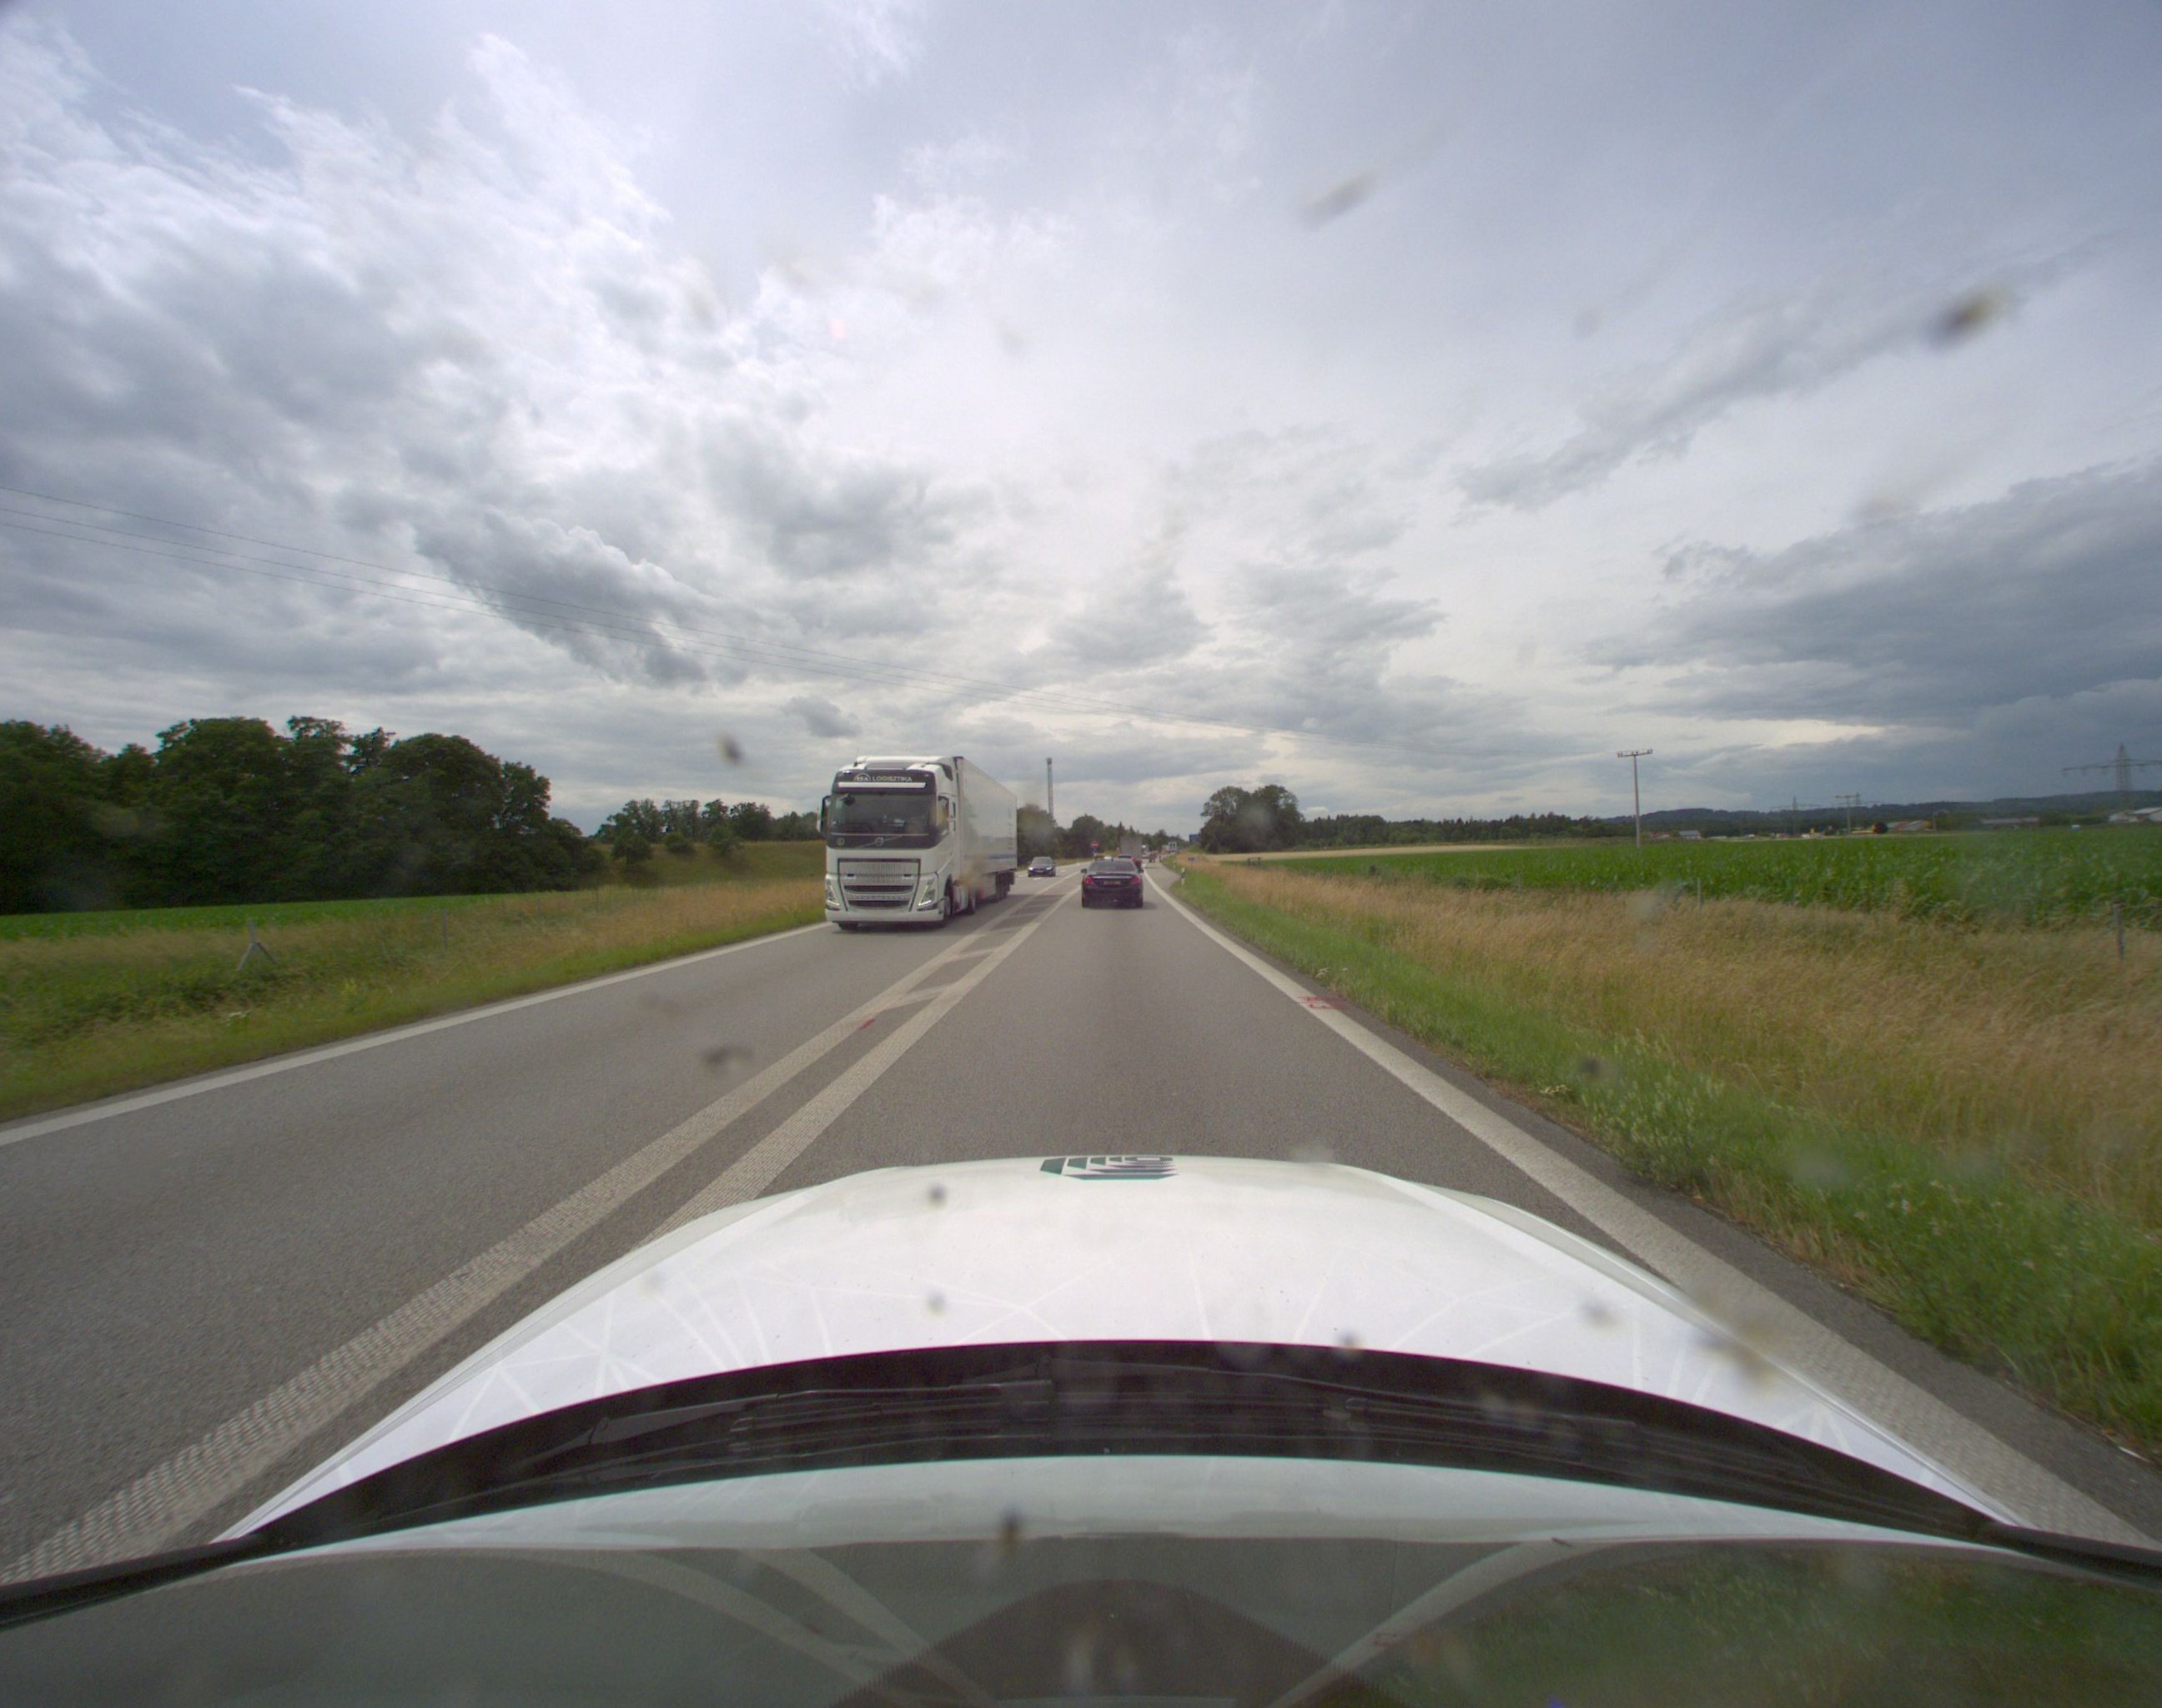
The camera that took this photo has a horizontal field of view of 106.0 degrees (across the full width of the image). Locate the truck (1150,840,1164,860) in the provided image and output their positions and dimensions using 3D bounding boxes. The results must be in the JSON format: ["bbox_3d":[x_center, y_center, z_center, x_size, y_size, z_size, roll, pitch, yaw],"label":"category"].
[{"bbox_3d":[14.013,-0.740,151.185,1.989,3.526,4.587,0,-1,-3],"label":"truck"}]

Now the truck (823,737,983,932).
[{"bbox_3d":[-4.001,-0.408,19.476,2.480,3.995,5.206,-1,0,2],"label":"truck"}]

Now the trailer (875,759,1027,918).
[{"bbox_3d":[-3.738,-0.418,27.219,2.480,3.995,13.081,-1,0,2],"label":"trailer"}]

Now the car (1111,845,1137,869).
[{"bbox_3d":[3.755,0.283,71.850,1.989,2.014,3.996,0,-1,-3],"label":"car"}]

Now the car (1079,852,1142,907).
[{"bbox_3d":[0.985,0.741,25.035,1.787,1.560,4.004,0,-1,4],"label":"car"}]

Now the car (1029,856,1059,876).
[{"bbox_3d":[-2.808,0.878,62.276,1.850,1.479,5.200,0,-1,2],"label":"car"}]

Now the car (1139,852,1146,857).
[{"bbox_3d":[15.738,0.184,209.787,1.643,1.395,3.707,0,-1,2],"label":"car"}]

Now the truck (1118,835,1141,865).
[{"bbox_3d":[5.777,-0.458,96.863,2.575,3.524,4.819,0,-1,5],"label":"truck"}]

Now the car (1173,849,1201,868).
[{"bbox_3d":[9.368,0.376,72.418,1.791,1.662,3.996,0,-1,-3],"label":"car"}]
